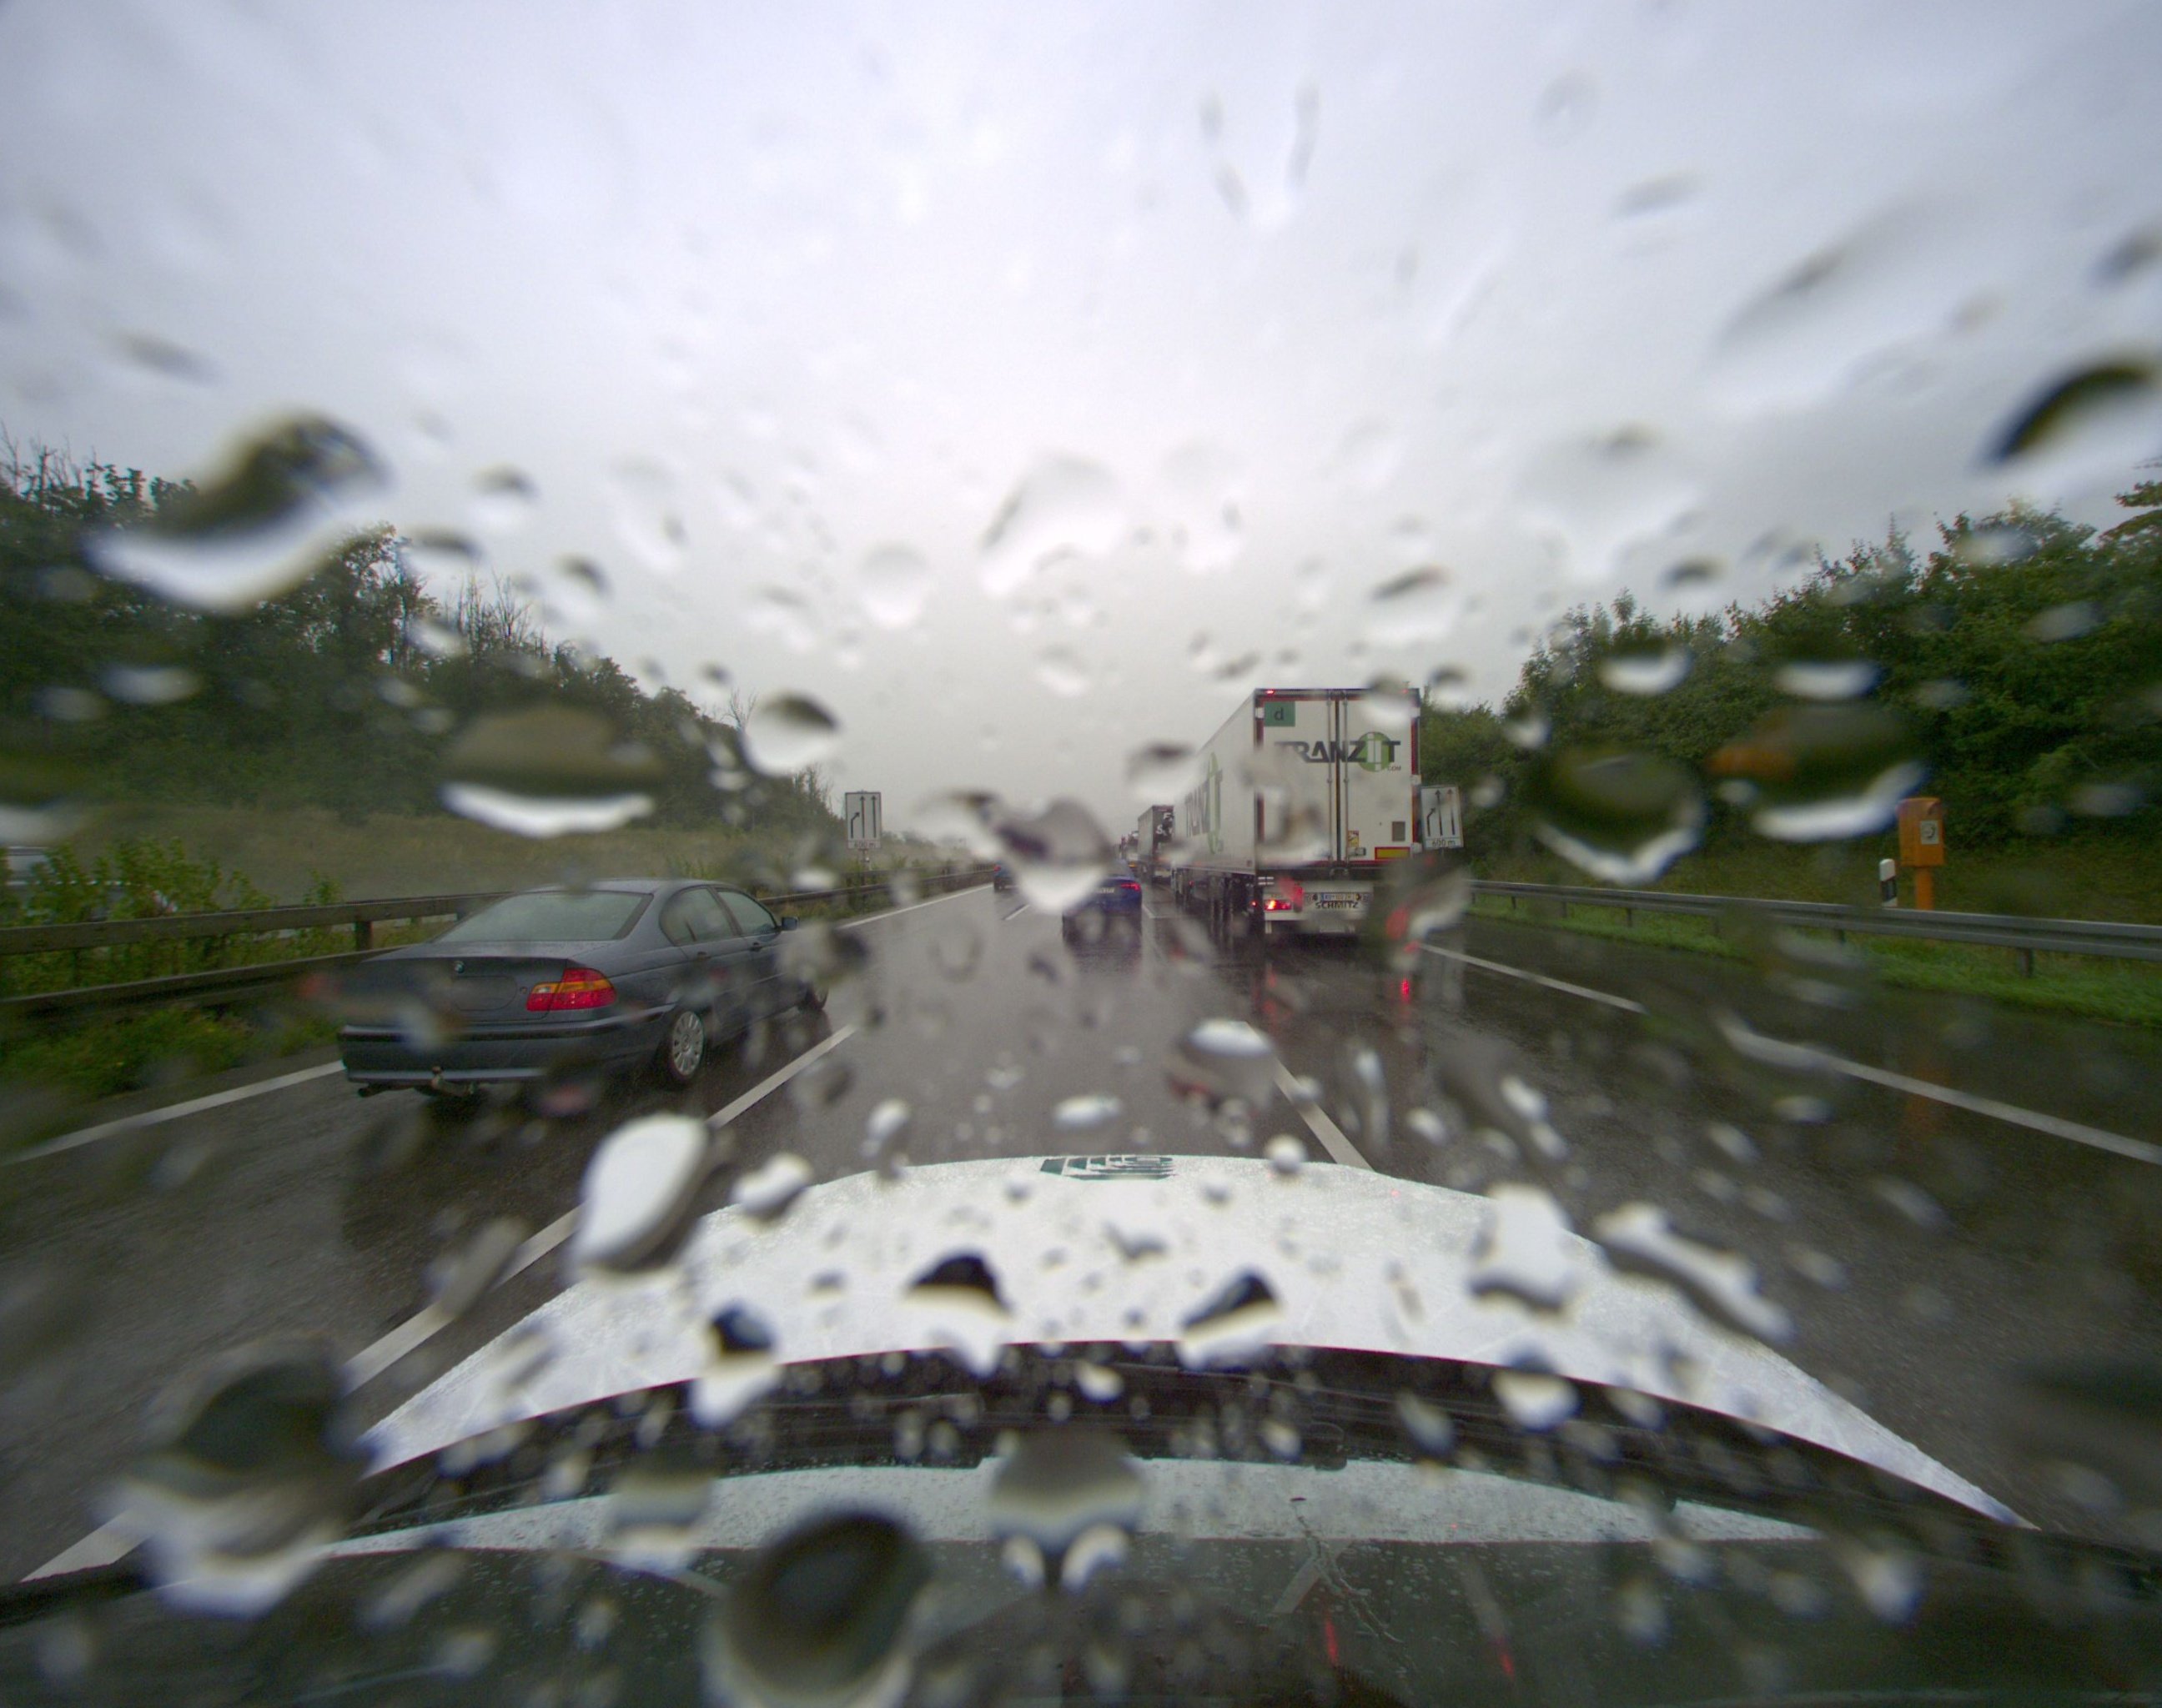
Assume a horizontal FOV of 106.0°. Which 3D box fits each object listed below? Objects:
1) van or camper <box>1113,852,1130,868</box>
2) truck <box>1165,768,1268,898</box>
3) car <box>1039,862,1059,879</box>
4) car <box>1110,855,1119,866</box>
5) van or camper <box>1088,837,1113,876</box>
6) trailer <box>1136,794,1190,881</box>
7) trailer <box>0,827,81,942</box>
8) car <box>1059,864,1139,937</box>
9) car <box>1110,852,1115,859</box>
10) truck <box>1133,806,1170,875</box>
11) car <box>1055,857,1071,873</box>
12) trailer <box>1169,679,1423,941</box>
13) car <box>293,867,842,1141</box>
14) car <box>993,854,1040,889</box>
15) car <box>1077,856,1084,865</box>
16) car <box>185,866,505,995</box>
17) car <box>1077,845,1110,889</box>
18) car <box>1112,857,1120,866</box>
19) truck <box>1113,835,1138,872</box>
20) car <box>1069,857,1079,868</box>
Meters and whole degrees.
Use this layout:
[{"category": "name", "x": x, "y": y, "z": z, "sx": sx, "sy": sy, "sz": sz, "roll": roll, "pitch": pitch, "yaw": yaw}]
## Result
[{"category": "van or camper", "x": 4.508, "y": 0.650, "z": 91.023, "sx": 1.765, "sy": 1.625, "sz": 4.485, "roll": -1, "pitch": 0, "yaw": 1}, {"category": "truck", "x": 4.283, "y": -0.639, "z": 26.622, "sx": 2.621, "sy": 3.827, "sz": 4.792, "roll": -1, "pitch": 0, "yaw": 1}, {"category": "car", "x": -2.743, "y": 1.406, "z": 70.250, "sx": 1.434, "sy": 1.420, "sz": 3.323, "roll": -1, "pitch": 0, "yaw": 1}, {"category": "car", "x": 5.466, "y": 1.063, "z": 132.591, "sx": 1.443, "sy": 1.784, "sz": 3.410, "roll": -1, "pitch": 0, "yaw": 1}, {"category": "van or camper", "x": 1.482, "y": 0.154, "z": 61.687, "sx": 1.791, "sy": 2.806, "sz": 4.769, "roll": -1, "pitch": 0, "yaw": 1}, {"category": "trailer", "x": 4.341, "y": -0.810, "z": 45.207, "sx": 2.039, "sy": 4.176, "sz": 11.451, "roll": -1, "pitch": 0, "yaw": 1}, {"category": "trailer", "x": -20.028, "y": 0.555, "z": 12.742, "sx": 2.085, "sy": 2.014, "sz": 5.350, "roll": -3, "pitch": -1, "yaw": 1}, {"category": "car", "x": 0.448, "y": 0.981, "z": 18.836, "sx": 1.629, "sy": 1.445, "sz": 4.002, "roll": -1, "pitch": 0, "yaw": 2}, {"category": "car", "x": 8.650, "y": 0.417, "z": 223.698, "sx": 1.443, "sy": 1.784, "sz": 3.410, "roll": -1, "pitch": 0, "yaw": 1}, {"category": "truck", "x": 4.428, "y": -0.844, "z": 51.646, "sx": 2.039, "sy": 4.193, "sz": 4.001, "roll": -1, "pitch": 0, "yaw": 1}, {"category": "car", "x": -1.905, "y": 1.161, "z": 86.623, "sx": 1.434, "sy": 1.533, "sz": 3.323, "roll": -1, "pitch": 0, "yaw": 1}, {"category": "trailer", "x": 4.121, "y": -0.706, "z": 19.931, "sx": 2.621, "sy": 4.013, "sz": 14.633, "roll": -1, "pitch": 0, "yaw": 1}, {"category": "car", "x": -3.437, "y": 0.857, "z": 6.582, "sx": 1.712, "sy": 1.400, "sz": 4.229, "roll": -1, "pitch": 0, "yaw": 0}, {"category": "car", "x": -3.036, "y": 0.795, "z": 38.984, "sx": 1.715, "sy": 1.523, "sz": 4.002, "roll": -1, "pitch": 0, "yaw": 2}, {"category": "car", "x": -0.109, "y": 1.343, "z": 166.122, "sx": 1.443, "sy": 1.784, "sz": 3.410, "roll": -1, "pitch": 0, "yaw": 1}, {"category": "car", "x": -11.765, "y": 1.187, "z": 13.463, "sx": 1.645, "sy": 1.728, "sz": 3.998, "roll": -3, "pitch": -3, "yaw": -1}, {"category": "car", "x": 0.576, "y": 0.533, "z": 35.450, "sx": 1.332, "sy": 1.780, "sz": 3.323, "roll": -1, "pitch": 0, "yaw": 1}, {"category": "car", "x": 6.232, "y": 1.386, "z": 143.984, "sx": 1.244, "sy": 1.512, "sz": 3.109, "roll": -2, "pitch": 1, "yaw": 1}, {"category": "truck", "x": 4.406, "y": -0.084, "z": 81.153, "sx": 1.987, "sy": 3.421, "sz": 8.031, "roll": -1, "pitch": 0, "yaw": 0}, {"category": "car", "x": -1.045, "y": 1.310, "z": 128.202, "sx": 1.443, "sy": 1.784, "sz": 3.410, "roll": -1, "pitch": 0, "yaw": 1}]
